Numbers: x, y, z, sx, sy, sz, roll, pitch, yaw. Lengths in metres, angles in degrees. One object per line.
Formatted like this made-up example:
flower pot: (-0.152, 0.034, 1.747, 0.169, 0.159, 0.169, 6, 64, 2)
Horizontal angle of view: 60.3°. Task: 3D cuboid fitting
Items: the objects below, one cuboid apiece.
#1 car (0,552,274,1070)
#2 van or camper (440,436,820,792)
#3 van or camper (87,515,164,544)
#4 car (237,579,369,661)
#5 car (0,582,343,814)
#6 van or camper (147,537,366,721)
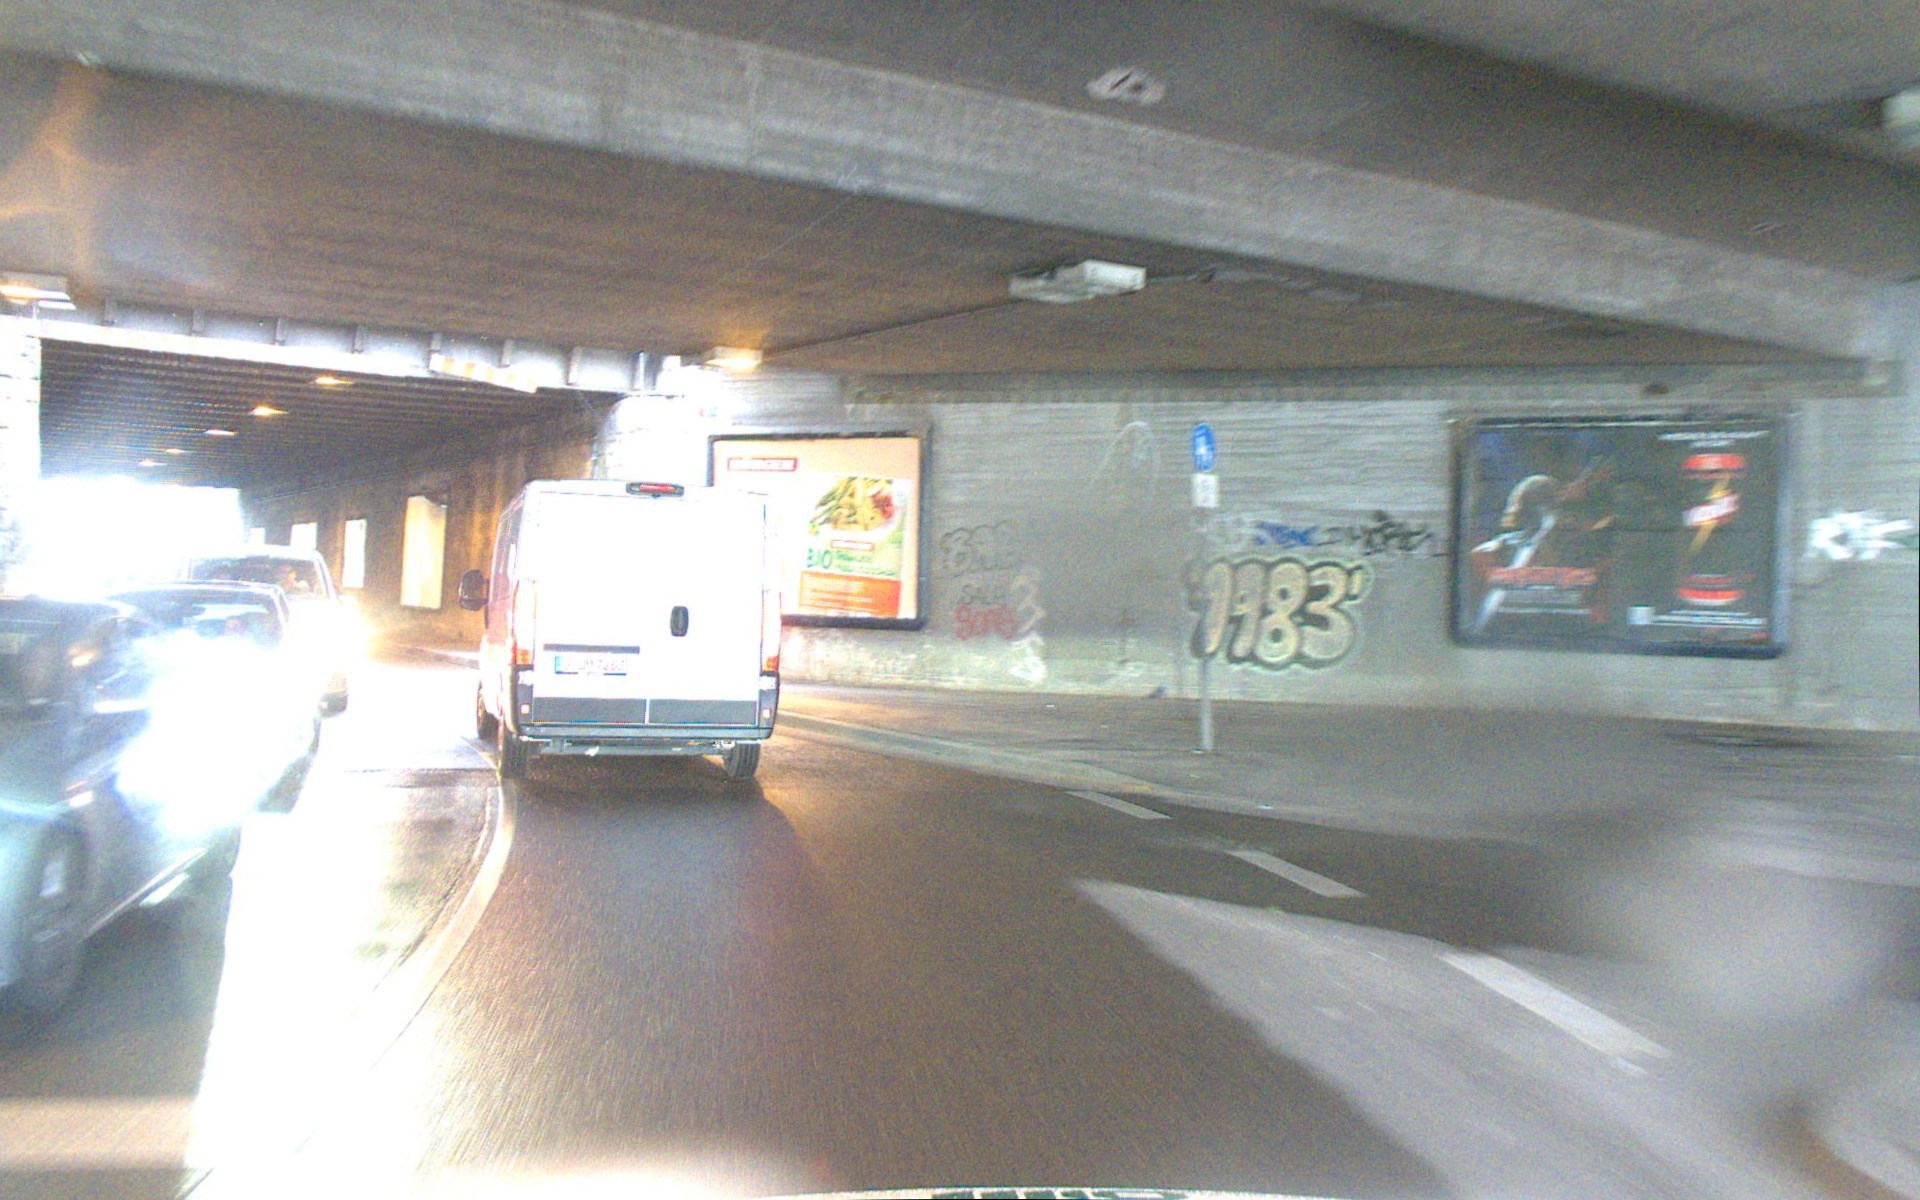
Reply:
car: (-4.235, 0.634, 6.614, 1.959, 1.557, 4.486, 0, 0, -12)
van or camper: (-3.003, 0.141, 14.180, 2.655, 2.459, 4.880, 1, -1, -17)
van or camper: (-65.204, -5.491, 129.316, 5.246, 2.049, 2.060, 1, 1, -28)
car: (-12.873, 0.347, 32.283, 1.817, 1.463, 4.061, 0, 1, -30)
car: (-5.940, 0.617, 12.836, 1.963, 1.490, 4.084, 0, 0, -18)
van or camper: (-8.521, 0.283, 19.747, 1.971, 1.901, 5.091, 0, 0, -28)
